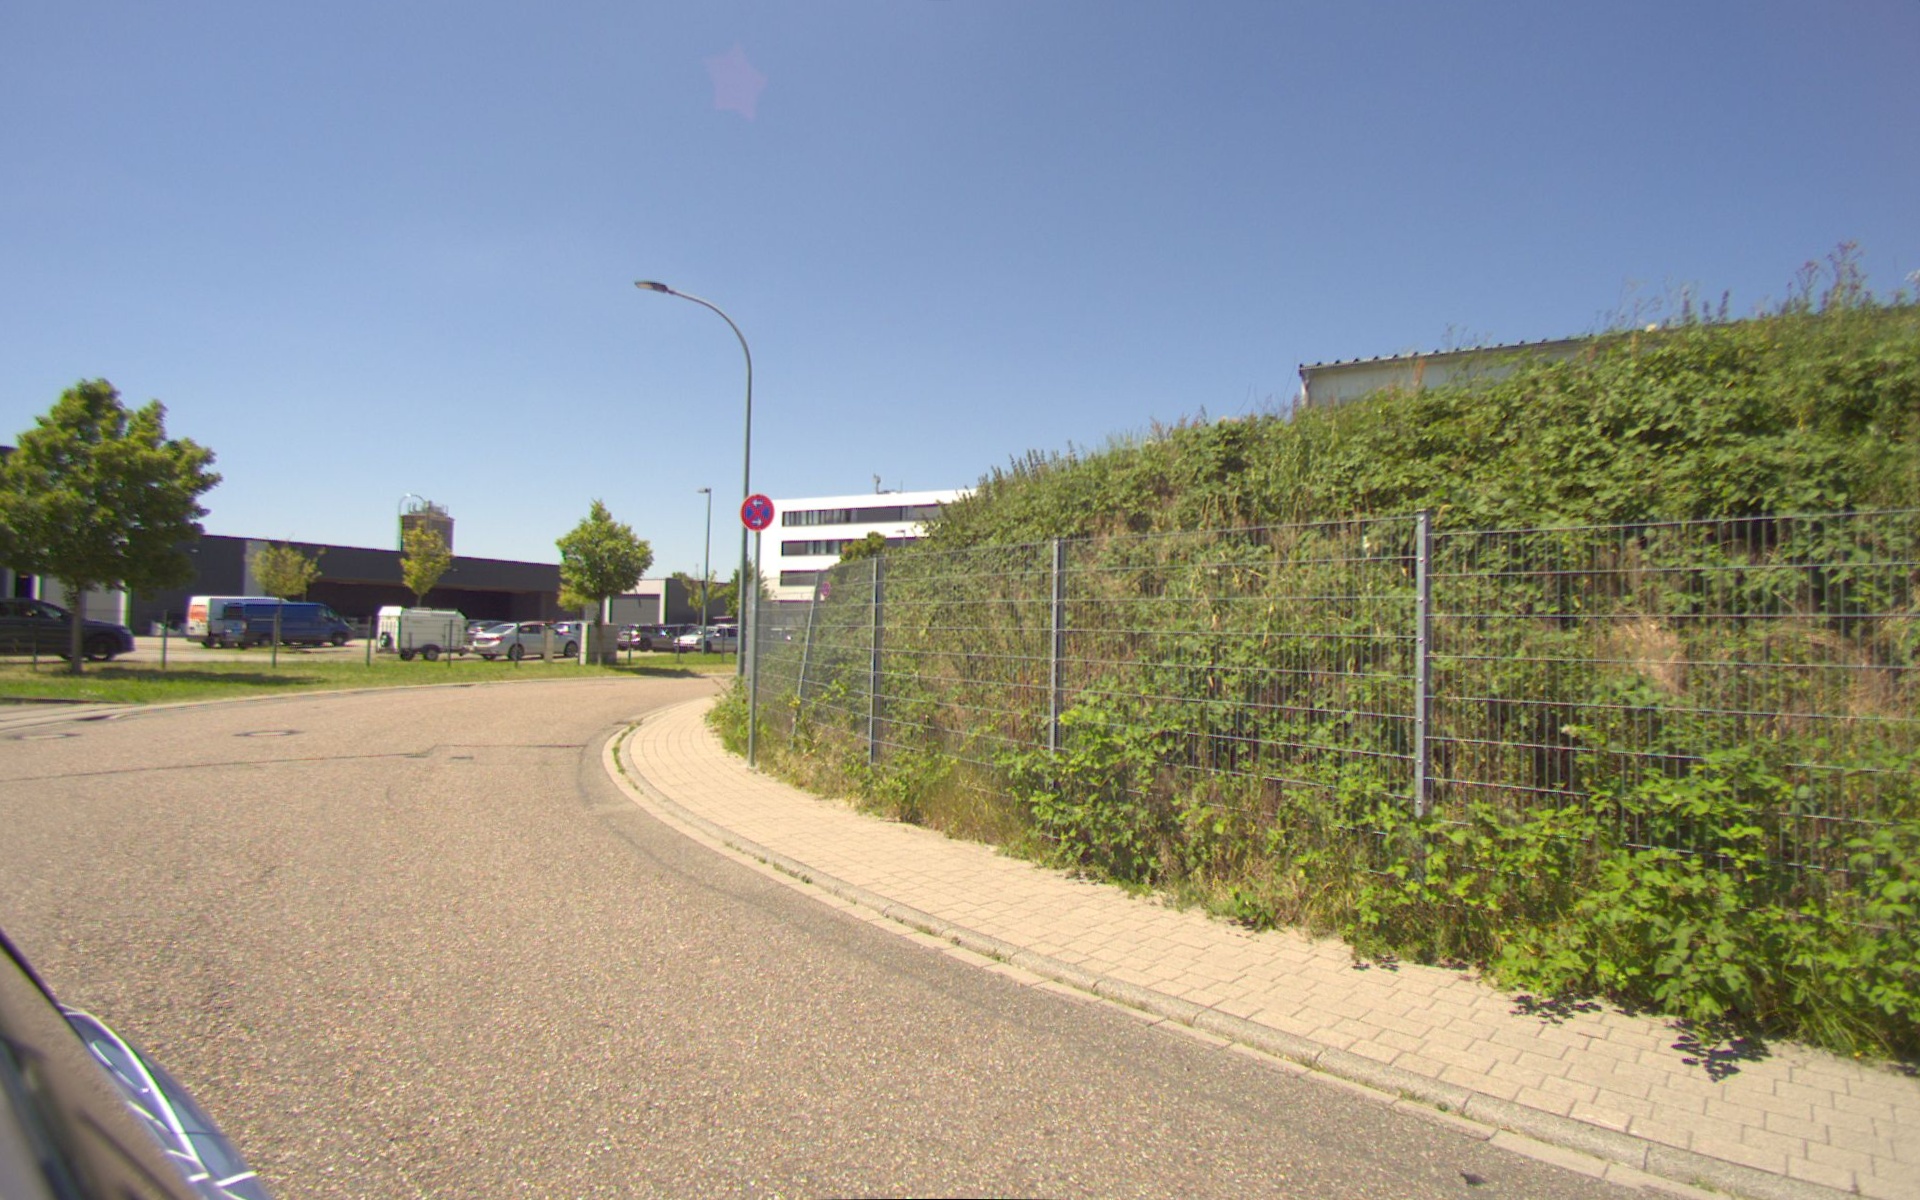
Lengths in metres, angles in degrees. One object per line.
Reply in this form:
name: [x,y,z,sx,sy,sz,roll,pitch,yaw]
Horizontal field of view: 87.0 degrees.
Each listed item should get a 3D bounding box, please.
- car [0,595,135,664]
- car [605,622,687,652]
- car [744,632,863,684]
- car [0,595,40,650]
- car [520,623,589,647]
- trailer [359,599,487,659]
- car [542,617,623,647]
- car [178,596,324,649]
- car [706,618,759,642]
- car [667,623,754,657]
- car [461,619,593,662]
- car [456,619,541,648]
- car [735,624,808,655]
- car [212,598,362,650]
car: [-23.002,0.686,24.578,1.772,1.613,4.243,0,-1,27]
car: [-16.434,1.961,53.176,1.848,1.510,3.884,0,-3,30]
car: [-4.973,1.836,32.640,1.652,1.567,4.092,-1,-3,28]
car: [-29.046,0.574,28.569,1.772,1.579,4.133,0,-3,27]
car: [-26.447,2.321,66.137,1.848,1.510,3.884,0,-3,30]
trailer: [-19.779,1.117,37.431,1.847,2.014,3.700,-1,-4,29]
car: [-20.904,1.792,56.213,1.848,1.510,3.884,0,-3,30]
car: [-35.294,1.049,50.591,2.185,2.476,5.627,-1,0,27]
car: [-17.517,2.311,78.144,1.826,1.549,3.883,-3,-7,31]
car: [-12.351,2.019,50.416,1.846,1.510,4.249,-1,-5,27]
car: [-17.542,1.606,41.227,1.847,1.510,4.807,-1,0,29]
car: [-27.230,1.988,59.825,1.960,1.644,4.209,0,-3,30]
car: [-10.233,2.131,55.213,1.848,1.510,3.884,0,0,30]
car: [-32.699,1.122,49.401,2.134,2.241,5.780,-3,0,27]
